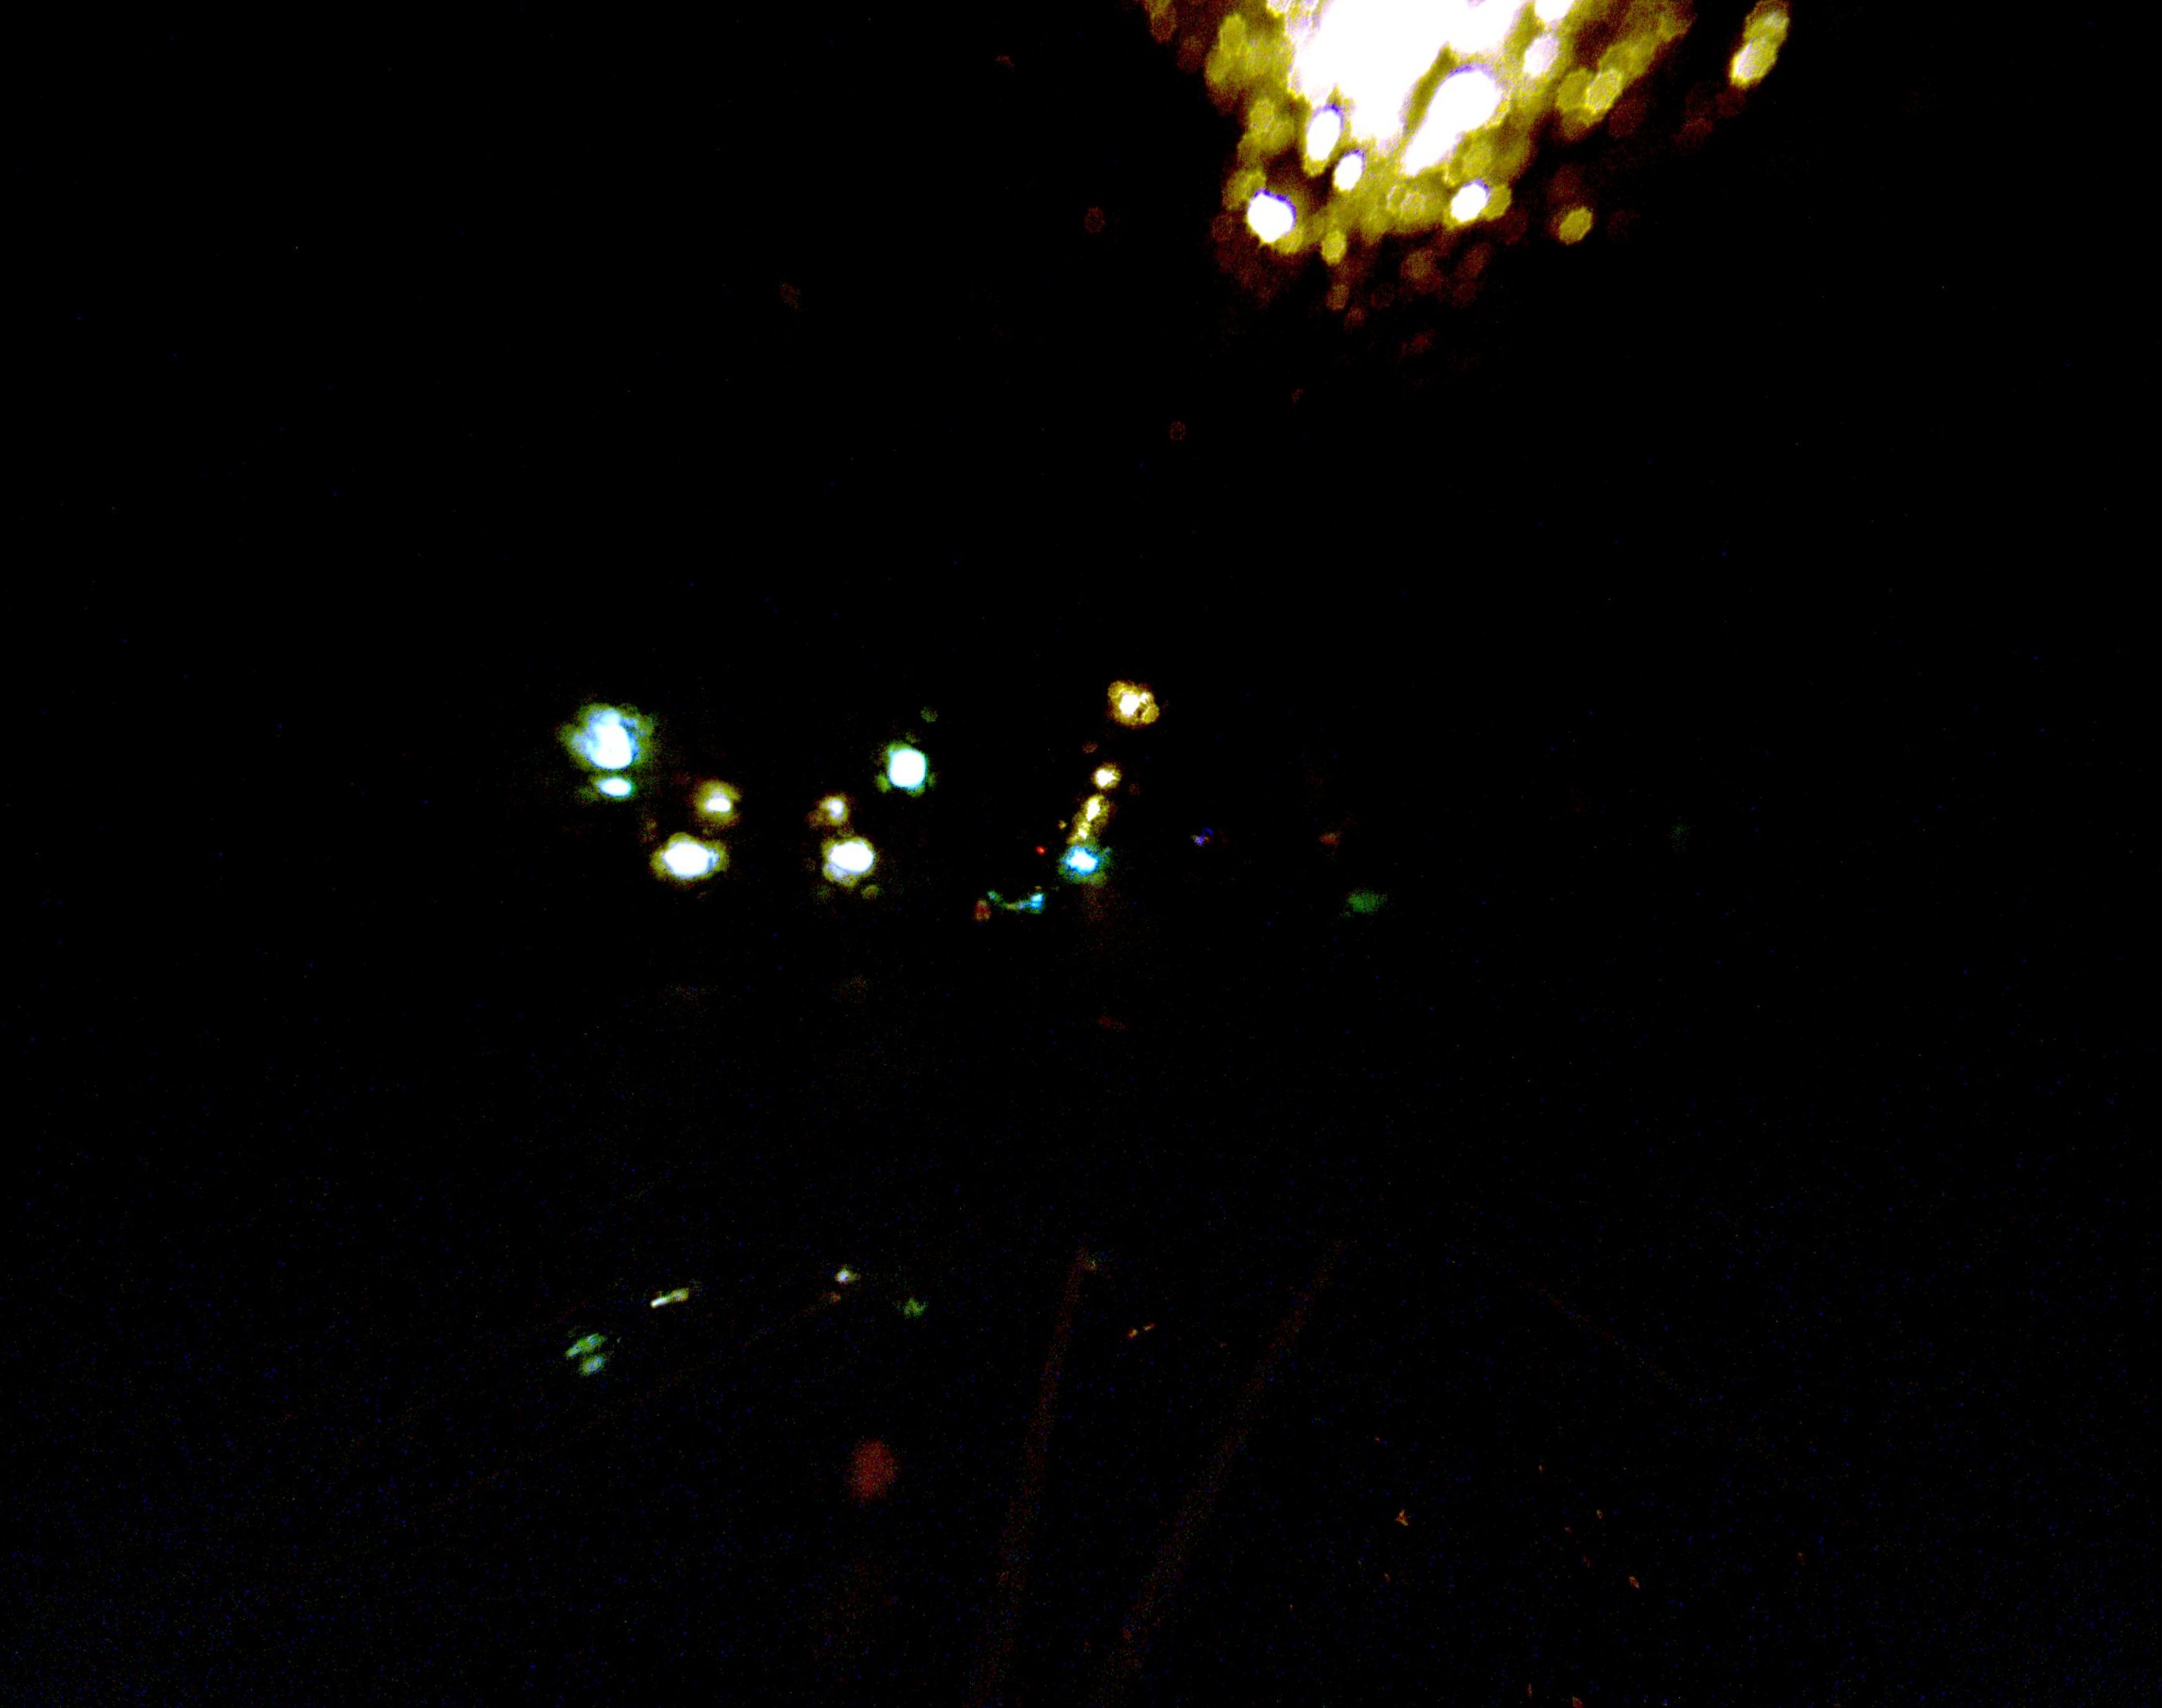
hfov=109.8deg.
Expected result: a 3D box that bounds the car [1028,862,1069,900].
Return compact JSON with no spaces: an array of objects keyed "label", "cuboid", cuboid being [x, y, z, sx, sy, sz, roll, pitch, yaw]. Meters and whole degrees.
[{"label":"car","cuboid":[-1.469,1.148,33.311,1.694,1.489,3.889,0,0,-4]}]

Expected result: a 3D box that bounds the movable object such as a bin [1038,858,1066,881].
[{"label":"movable object such as a bin","cuboid":[-1.852,0.960,48.596,1.344,1.421,1.198,-1,1,-36]}]

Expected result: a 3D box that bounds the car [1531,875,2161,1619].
[{"label":"car","cuboid":[3.435,0.924,1.476,1.927,1.608,4.571,1,0,-8]}]

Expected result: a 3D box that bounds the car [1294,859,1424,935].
[{"label":"car","cuboid":[6.574,0.948,18.410,1.749,1.579,3.765,-1,0,0]}]

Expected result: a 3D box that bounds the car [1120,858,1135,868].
[{"label":"car","cuboid":[6.327,1.201,103.058,1.731,1.384,4.555,-1,0,0]}]

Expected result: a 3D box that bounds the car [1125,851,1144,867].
[{"label":"car","cuboid":[6.431,0.558,91.382,1.907,1.818,4.829,-1,0,0]}]

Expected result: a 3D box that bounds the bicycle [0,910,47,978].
[{"label":"bicycle","cuboid":[-16.963,1.421,11.157,0.702,1.004,1.984,-3,1,4]}]

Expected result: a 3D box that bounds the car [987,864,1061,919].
[{"label":"car","cuboid":[-1.593,1.040,22.529,1.922,1.403,3.999,0,0,-1]}]

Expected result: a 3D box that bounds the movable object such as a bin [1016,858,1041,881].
[{"label":"movable object such as a bin","cuboid":[-3.307,0.953,47.927,1.311,1.421,1.051,0,1,9]}]

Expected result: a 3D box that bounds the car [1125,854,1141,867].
[{"label":"car","cuboid":[5.632,0.691,82.898,1.573,1.451,3.720,-1,0,0]}]

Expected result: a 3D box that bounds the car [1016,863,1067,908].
[{"label":"car","cuboid":[-1.404,1.095,28.091,1.694,1.489,3.890,0,0,-1]}]

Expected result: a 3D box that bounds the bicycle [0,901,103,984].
[{"label":"bicycle","cuboid":[-15.797,1.318,10.945,0.702,1.109,1.984,-3,1,4]}]

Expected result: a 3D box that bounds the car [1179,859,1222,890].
[{"label":"car","cuboid":[6.394,1.082,40.866,1.676,1.482,3.721,-2,0,0]}]

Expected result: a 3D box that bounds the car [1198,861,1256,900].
[{"label":"car","cuboid":[6.445,1.129,33.876,1.779,1.563,4.134,-1,0,0]}]

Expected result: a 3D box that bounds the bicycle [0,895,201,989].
[{"label":"bicycle","cuboid":[-14.403,1.242,11.144,0.507,1.109,1.984,-3,1,4]}]

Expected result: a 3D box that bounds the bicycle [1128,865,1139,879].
[{"label":"bicycle","cuboid":[4.310,1.462,62.248,0.729,1.066,2.348,0,0,0]}]

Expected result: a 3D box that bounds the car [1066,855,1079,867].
[{"label":"car","cuboid":[-1.180,1.010,108.258,1.676,1.712,3.856,0,0,0]}]

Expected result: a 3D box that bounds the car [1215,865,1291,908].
[{"label":"car","cuboid":[6.340,1.141,28.467,1.827,1.381,4.425,-1,0,0]}]

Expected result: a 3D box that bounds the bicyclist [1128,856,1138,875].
[{"label":"bicyclist","cuboid":[4.275,0.963,62.189,0.720,1.547,0.895,0,1,0]}]

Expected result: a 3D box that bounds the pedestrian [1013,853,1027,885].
[{"label":"pedestrian","cuboid":[-3.458,0.840,43.192,0.704,1.778,0.624,1,0,3]}]

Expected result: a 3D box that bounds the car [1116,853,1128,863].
[{"label":"car","cuboid":[6.549,0.613,121.104,1.696,1.470,3.385,-1,-1,4]}]

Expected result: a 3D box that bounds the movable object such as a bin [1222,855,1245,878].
[{"label":"movable object such as a bin","cuboid":[9.576,0.765,47.859,1.104,1.445,1.378,0,1,-2]}]

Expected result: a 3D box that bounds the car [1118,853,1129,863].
[{"label":"car","cuboid":[6.423,0.638,114.922,1.531,1.445,3.383,-1,0,0]}]

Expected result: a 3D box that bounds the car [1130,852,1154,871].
[{"label":"car","cuboid":[6.080,0.713,76.183,2.001,1.818,5.206,-1,0,0]}]

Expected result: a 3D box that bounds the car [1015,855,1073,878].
[{"label":"car","cuboid":[-2.940,0.994,61.108,4.524,1.522,1.780,3,1,-1]}]

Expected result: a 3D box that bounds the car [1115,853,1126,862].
[{"label":"car","cuboid":[6.472,0.601,125.134,1.697,1.470,3.964,-1,-1,1]}]

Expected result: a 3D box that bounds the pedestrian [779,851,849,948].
[{"label":"pedestrian","cuboid":[-5.129,0.846,14.663,0.864,1.778,1.083,1,0,3]}]

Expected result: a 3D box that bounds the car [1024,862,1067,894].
[{"label":"car","cuboid":[-1.725,1.175,38.429,1.998,1.455,4.416,-1,0,0]}]

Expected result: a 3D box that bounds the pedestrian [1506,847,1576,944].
[{"label":"pedestrian","cuboid":[8.954,0.787,14.819,0.745,1.794,0.986,-3,1,3]}]

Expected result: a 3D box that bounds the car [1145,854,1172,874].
[{"label":"car","cuboid":[6.451,0.823,63.629,1.772,1.474,4.772,-4,0,1]}]

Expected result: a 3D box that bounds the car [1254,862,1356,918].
[{"label":"car","cuboid":[6.707,1.019,23.215,1.837,1.472,4.306,-1,0,0]}]

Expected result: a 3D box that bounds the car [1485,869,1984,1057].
[{"label":"car","cuboid":[6.821,0.984,8.807,1.837,1.477,4.594,-1,0,0]}]
